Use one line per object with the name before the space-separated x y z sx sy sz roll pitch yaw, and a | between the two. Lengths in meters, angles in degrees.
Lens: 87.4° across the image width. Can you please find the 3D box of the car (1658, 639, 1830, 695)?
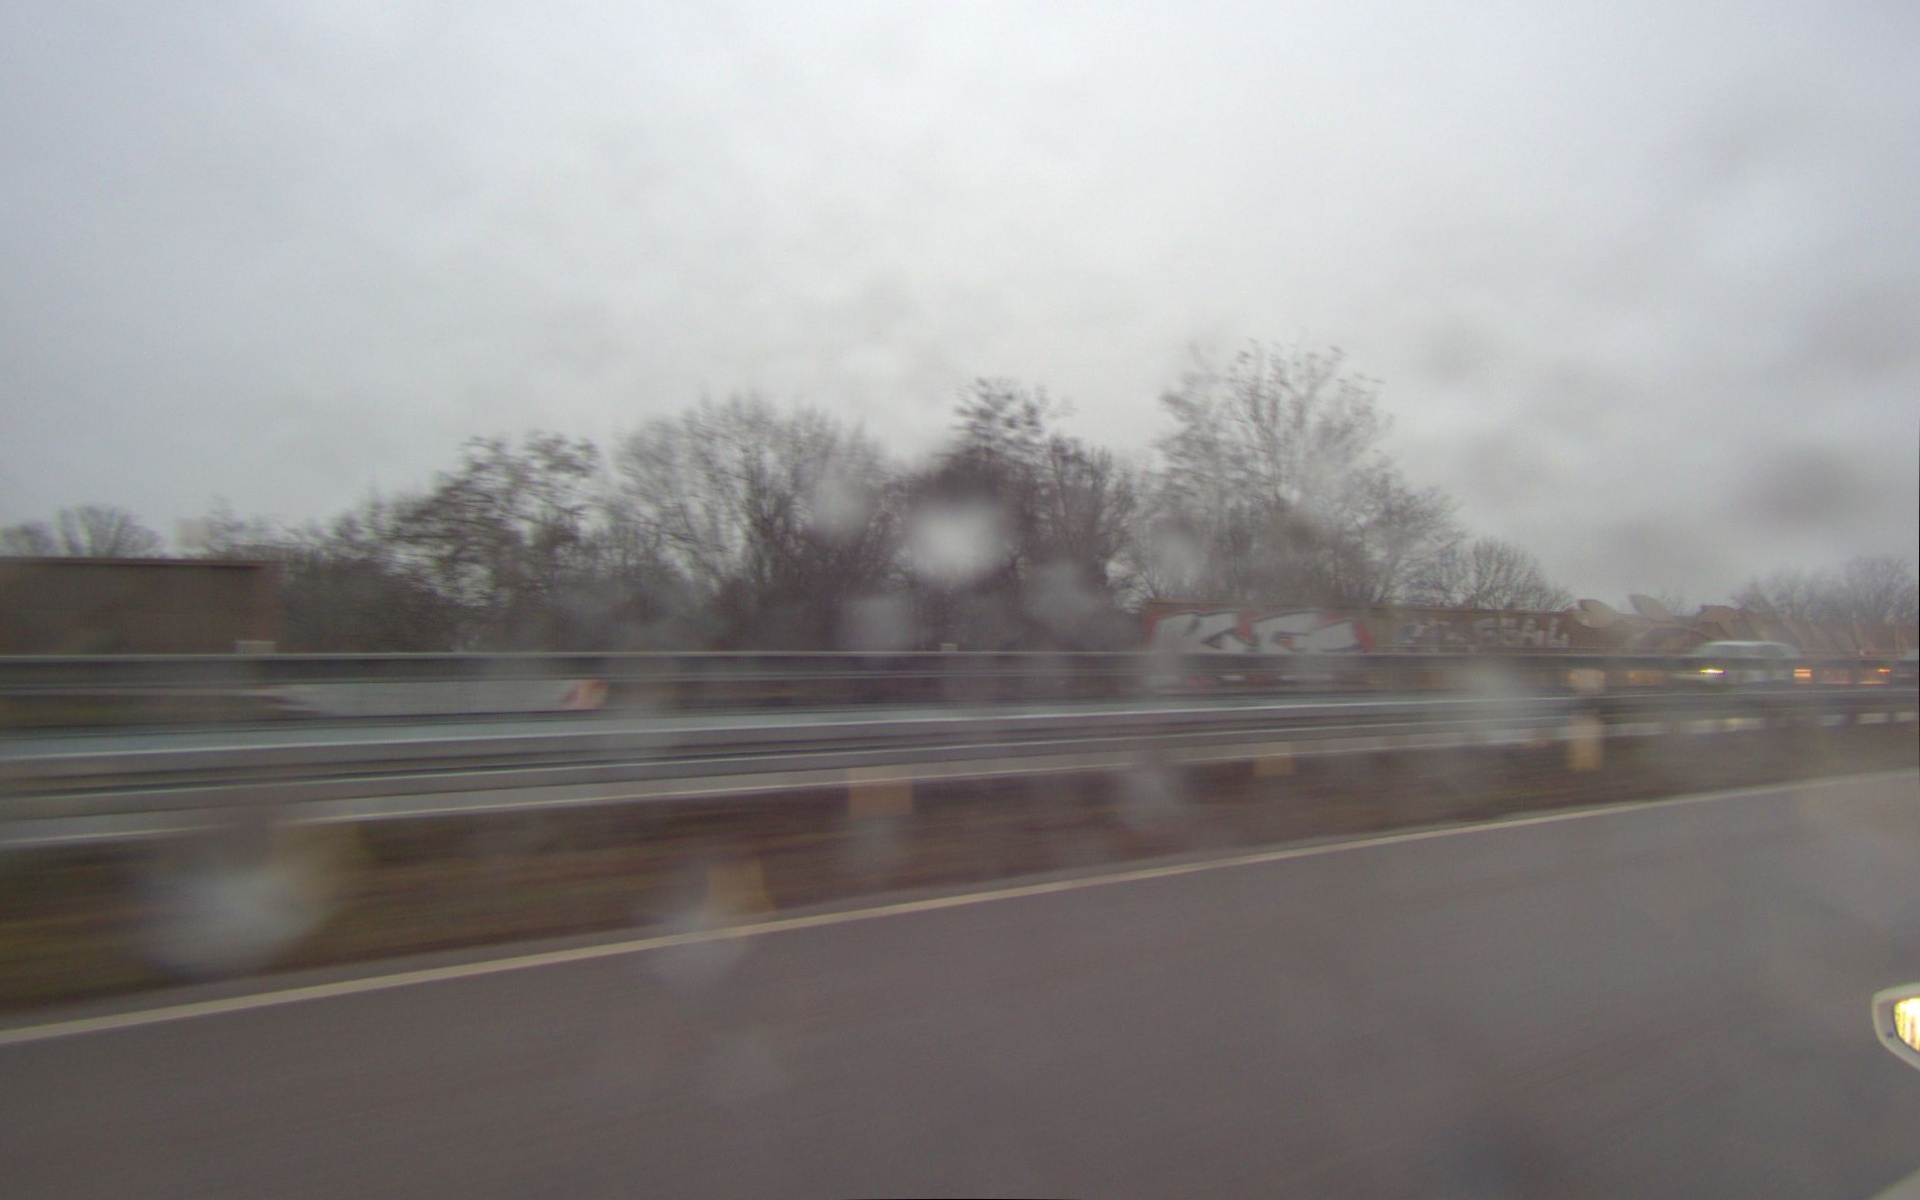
car | 23.911 2.028 30.651 4.607 1.583 1.839 1 -1 -17
